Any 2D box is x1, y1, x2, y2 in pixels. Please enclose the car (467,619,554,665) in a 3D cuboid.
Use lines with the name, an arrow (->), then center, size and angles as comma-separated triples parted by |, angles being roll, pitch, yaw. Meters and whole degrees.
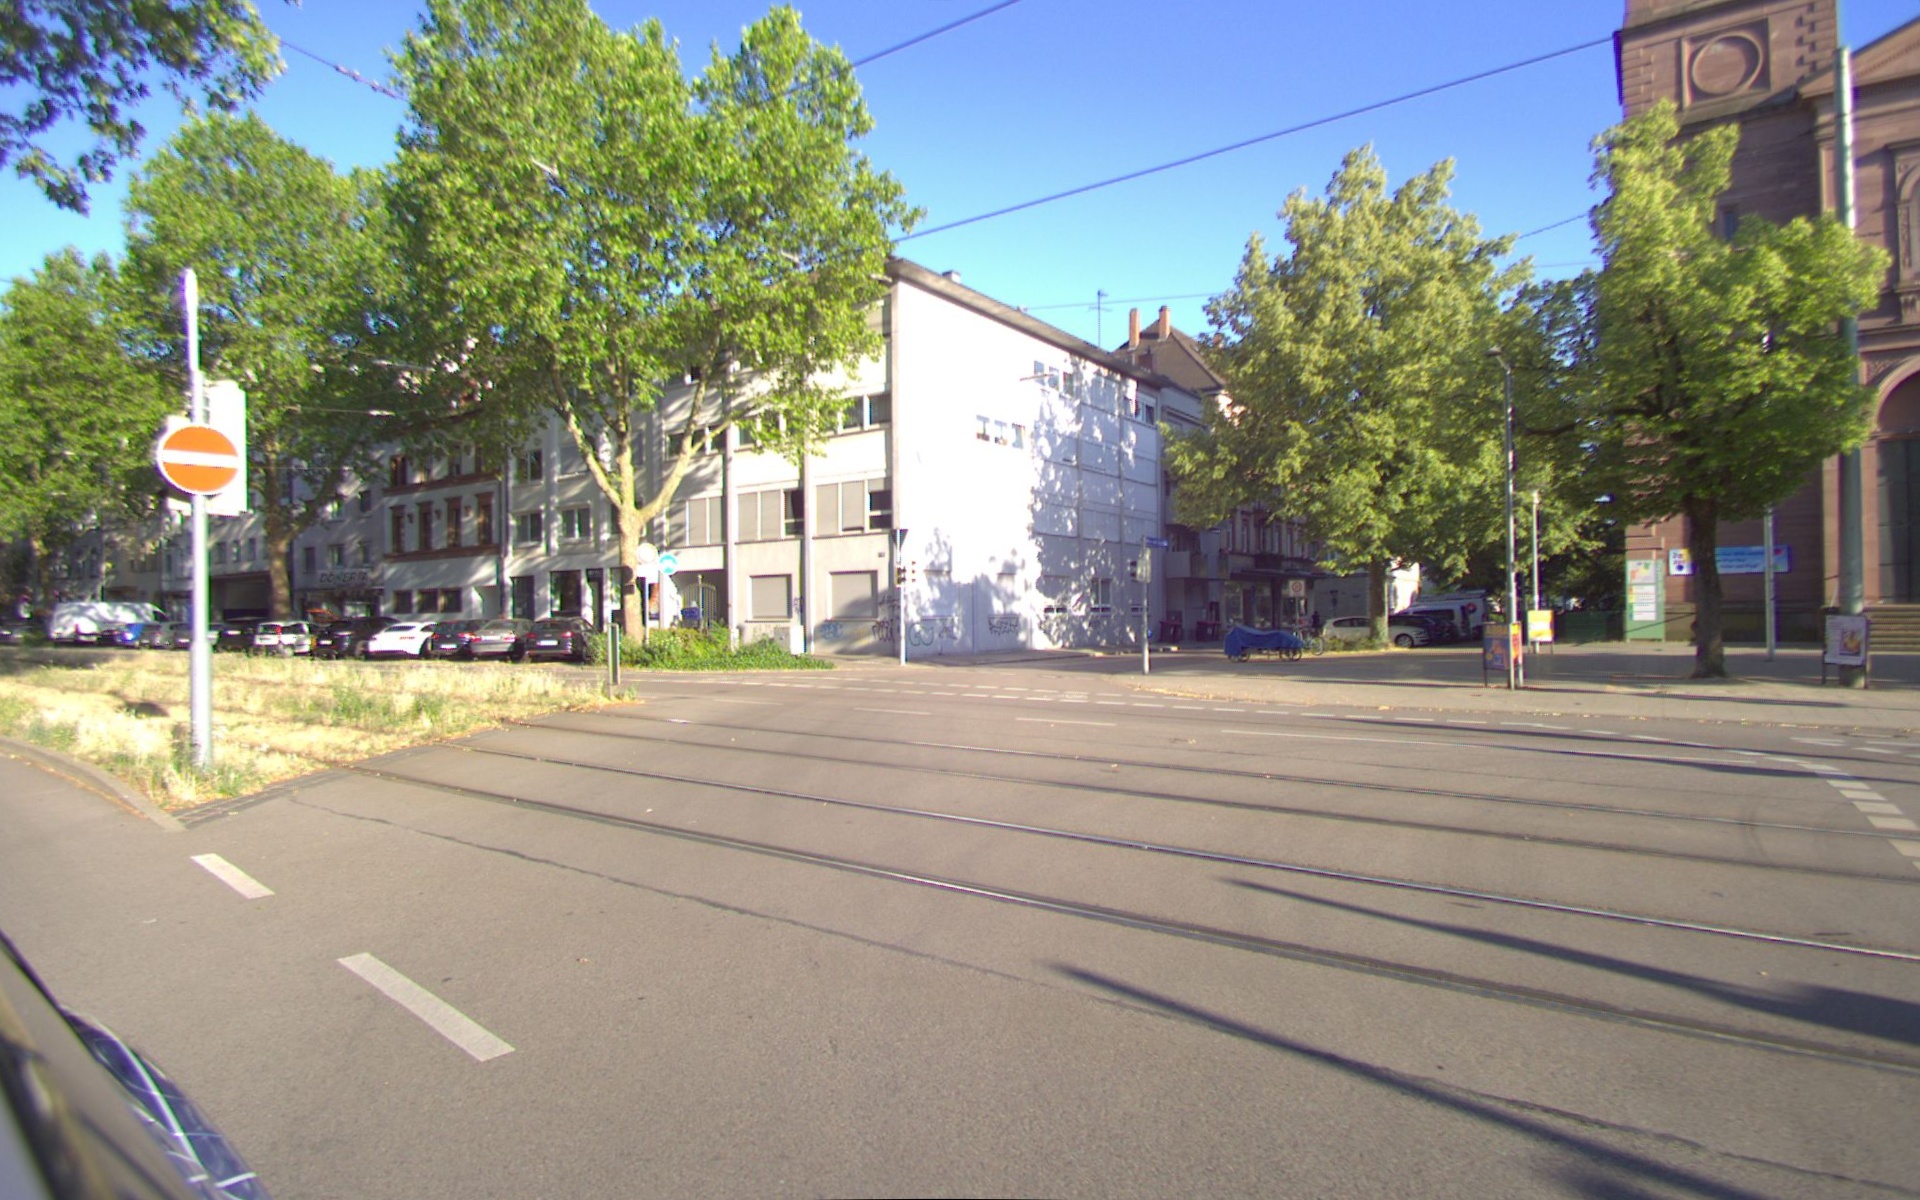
car -> -15.785, 1.428, 35.706 | 1.715, 1.443, 3.977 | -2, -1, -7

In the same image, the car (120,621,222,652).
car -> -42.374, 1.936, 54.463 | 1.981, 1.529, 3.980 | -1, -1, 15

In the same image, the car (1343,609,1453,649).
car -> 18.557, 1.221, 42.950 | 3.992, 1.630, 1.868 | -1, -1, 36

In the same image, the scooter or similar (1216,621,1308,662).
scooter or similar -> 9.234, 1.282, 31.031 | 2.443, 1.135, 1.083 | -4, -3, 36

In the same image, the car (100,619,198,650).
car -> -44.958, 1.885, 56.217 | 1.977, 1.630, 3.989 | -1, -1, 8

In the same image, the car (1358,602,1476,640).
car -> 21.142, 0.988, 46.933 | 4.700, 1.674, 1.976 | -1, -1, 36

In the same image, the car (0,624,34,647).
car -> -71.932, 2.651, 75.408 | 1.977, 1.719, 3.989 | -1, -1, 8

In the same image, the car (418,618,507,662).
car -> -18.520, 1.443, 37.849 | 1.803, 1.515, 3.977 | -1, -1, -7

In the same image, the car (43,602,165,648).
car -> -52.276, 1.499, 61.981 | 2.157, 2.721, 5.593 | -1, -1, 11

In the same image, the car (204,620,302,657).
car -> -33.509, 1.808, 48.114 | 1.879, 1.626, 4.260 | -1, -1, -3

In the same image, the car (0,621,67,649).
car -> -65.075, 2.427, 70.528 | 1.977, 1.829, 3.989 | -1, -1, 8

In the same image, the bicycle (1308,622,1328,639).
bicycle -> 21.731, 1.871, 61.409 | 0.631, 0.988, 1.965 | -1, -1, 36

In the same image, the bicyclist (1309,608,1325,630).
bicyclist -> 21.632, 1.166, 61.315 | 0.631, 1.341, 0.957 | -1, -1, 36

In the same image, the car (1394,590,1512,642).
car -> 24.842, 0.812, 51.089 | 5.104, 2.537, 1.976 | -1, -1, 36

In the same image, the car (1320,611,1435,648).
car -> 16.889, 1.220, 40.991 | 3.992, 1.409, 1.795 | -2, -2, 36

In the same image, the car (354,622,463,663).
car -> -20.920, 1.575, 38.594 | 2.120, 1.388, 4.262 | -1, -1, -5

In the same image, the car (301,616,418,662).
car -> -23.776, 1.503, 40.274 | 2.123, 1.697, 4.256 | -1, -1, 1

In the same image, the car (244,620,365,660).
car -> -27.803, 1.657, 43.071 | 1.631, 1.569, 4.229 | -1, -1, 20

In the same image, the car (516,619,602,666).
car -> -13.271, 1.356, 33.755 | 1.745, 1.442, 3.977 | -1, -1, -7

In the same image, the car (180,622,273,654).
car -> -36.270, 1.827, 50.182 | 1.580, 1.470, 4.257 | -1, -1, -1

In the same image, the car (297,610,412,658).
car -> -25.792, 1.411, 43.286 | 1.505, 1.958, 4.229 | -1, -1, 20

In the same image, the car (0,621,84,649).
car -> -62.325, 2.368, 68.764 | 1.977, 1.829, 3.989 | -1, -1, 8

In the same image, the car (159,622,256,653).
car -> -38.790, 1.889, 52.282 | 1.880, 1.468, 4.257 | -1, -1, 0

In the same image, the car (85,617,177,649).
car -> -49.674, 1.931, 60.739 | 1.977, 1.829, 3.989 | -1, -1, 8

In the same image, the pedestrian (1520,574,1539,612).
pedestrian -> 27.080, -0.305, 48.096 | 0.691, 1.779, 0.730 | -1, -1, 35
